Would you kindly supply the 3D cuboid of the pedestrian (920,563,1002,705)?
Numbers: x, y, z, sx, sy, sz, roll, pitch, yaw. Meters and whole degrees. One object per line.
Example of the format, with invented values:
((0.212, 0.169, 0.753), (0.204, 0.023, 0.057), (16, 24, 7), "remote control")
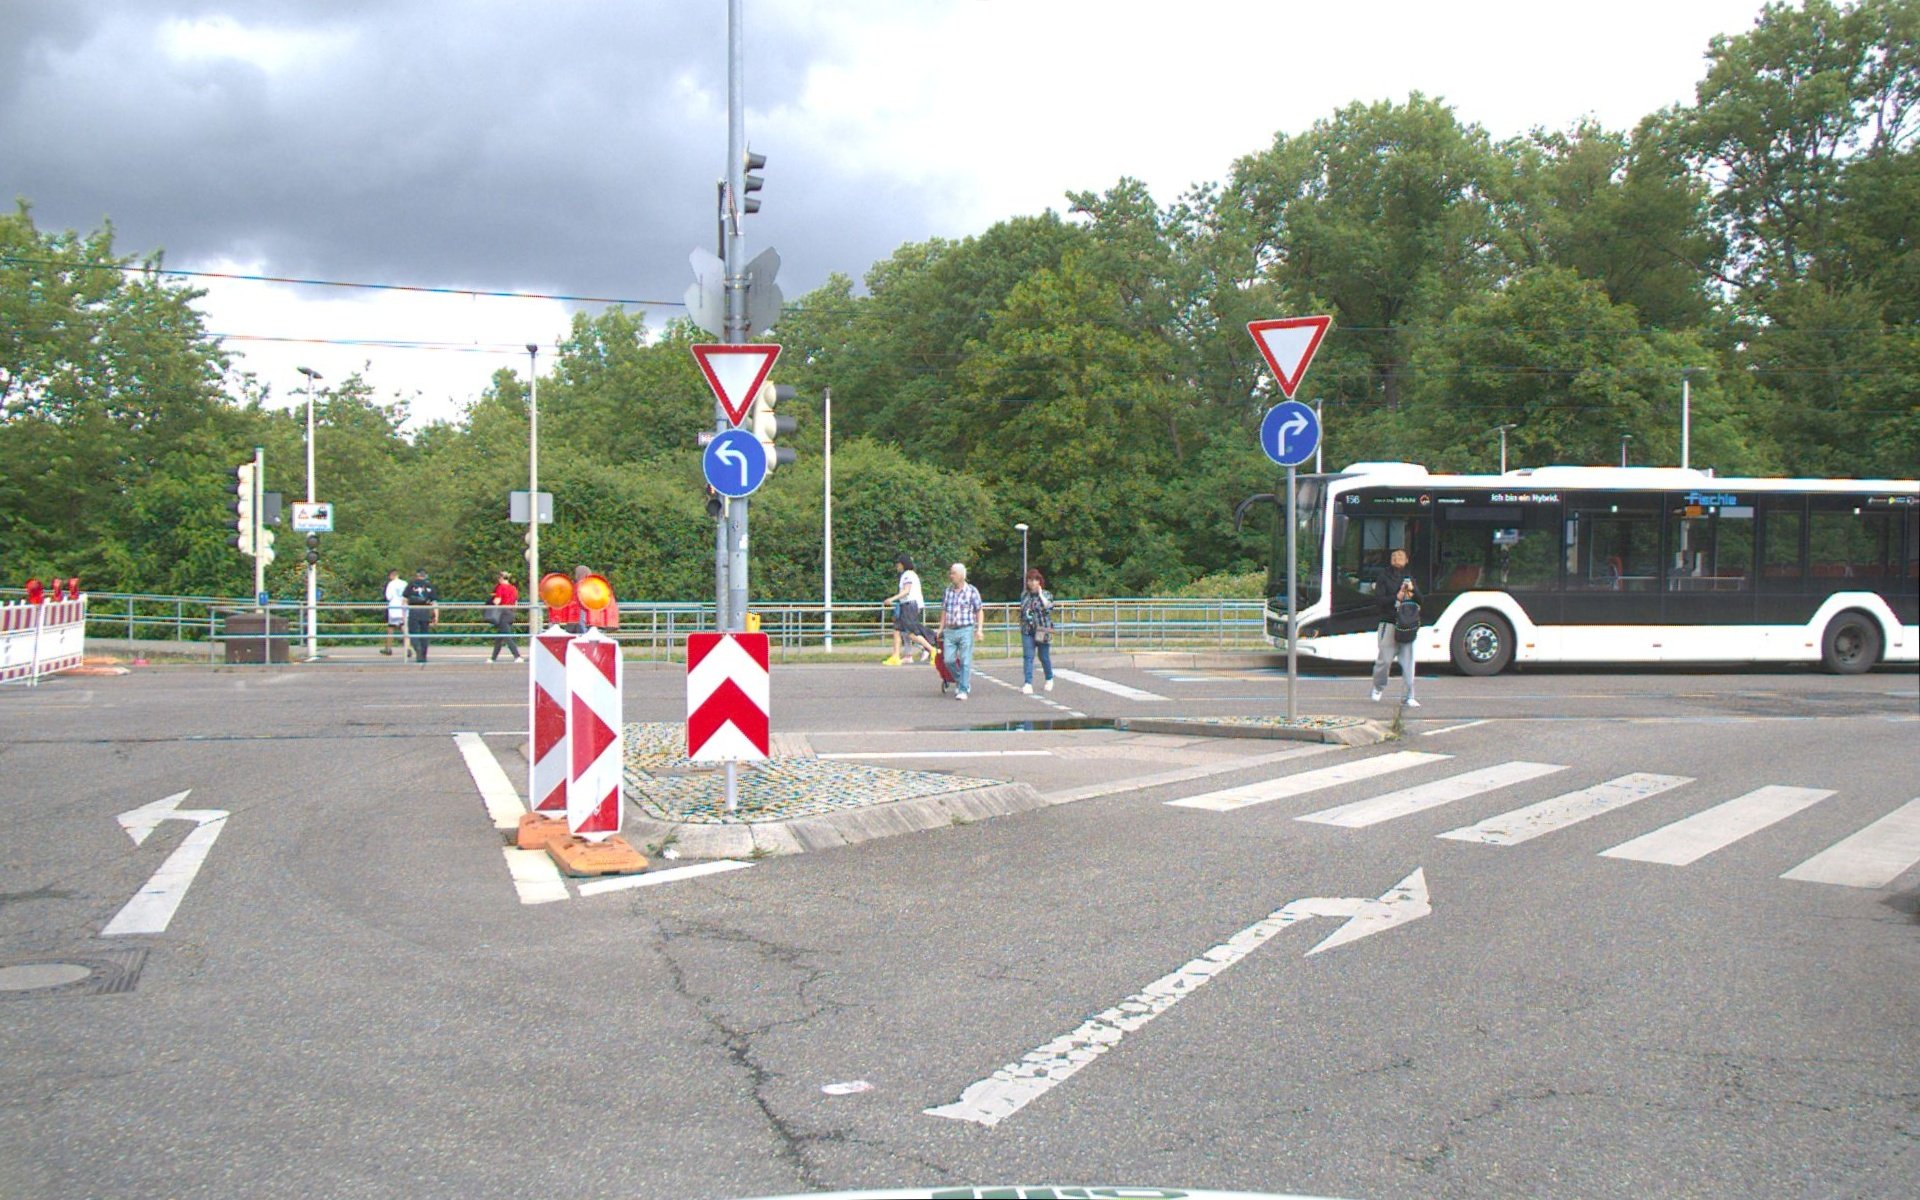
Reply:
((0.010, 0.397, 19.940), (0.715, 1.662, 0.690), (0, 0, -37), "pedestrian")

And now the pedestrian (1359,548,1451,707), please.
((5.108, 0.299, 19.038), (0.934, 1.777, 1.063), (0, 0, 11), "pedestrian")

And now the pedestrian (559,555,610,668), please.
((-6.033, 0.177, 26.626), (0.707, 1.778, 0.956), (0, 0, -8), "pedestrian")

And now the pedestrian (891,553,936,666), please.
((-0.749, 0.143, 26.424), (0.706, 1.778, 0.957), (0, 0, -2), "pedestrian")

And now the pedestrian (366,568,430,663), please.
((-10.611, 0.283, 31.244), (0.937, 1.778, 0.721), (0, 0, 31), "pedestrian")

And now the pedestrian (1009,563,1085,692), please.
((1.103, 0.334, 20.949), (0.678, 1.594, 0.730), (0, 0, 36), "pedestrian")

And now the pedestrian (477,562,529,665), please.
((-7.424, 0.214, 26.920), (0.707, 1.649, 0.804), (0, 0, -8), "pedestrian")

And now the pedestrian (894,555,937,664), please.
((-0.742, 0.151, 27.468), (0.706, 1.778, 0.957), (0, 0, -2), "pedestrian")

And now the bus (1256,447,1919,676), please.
((10.767, -0.600, 25.727), (11.931, 3.259, 2.670), (0, 0, -8), "bus")
